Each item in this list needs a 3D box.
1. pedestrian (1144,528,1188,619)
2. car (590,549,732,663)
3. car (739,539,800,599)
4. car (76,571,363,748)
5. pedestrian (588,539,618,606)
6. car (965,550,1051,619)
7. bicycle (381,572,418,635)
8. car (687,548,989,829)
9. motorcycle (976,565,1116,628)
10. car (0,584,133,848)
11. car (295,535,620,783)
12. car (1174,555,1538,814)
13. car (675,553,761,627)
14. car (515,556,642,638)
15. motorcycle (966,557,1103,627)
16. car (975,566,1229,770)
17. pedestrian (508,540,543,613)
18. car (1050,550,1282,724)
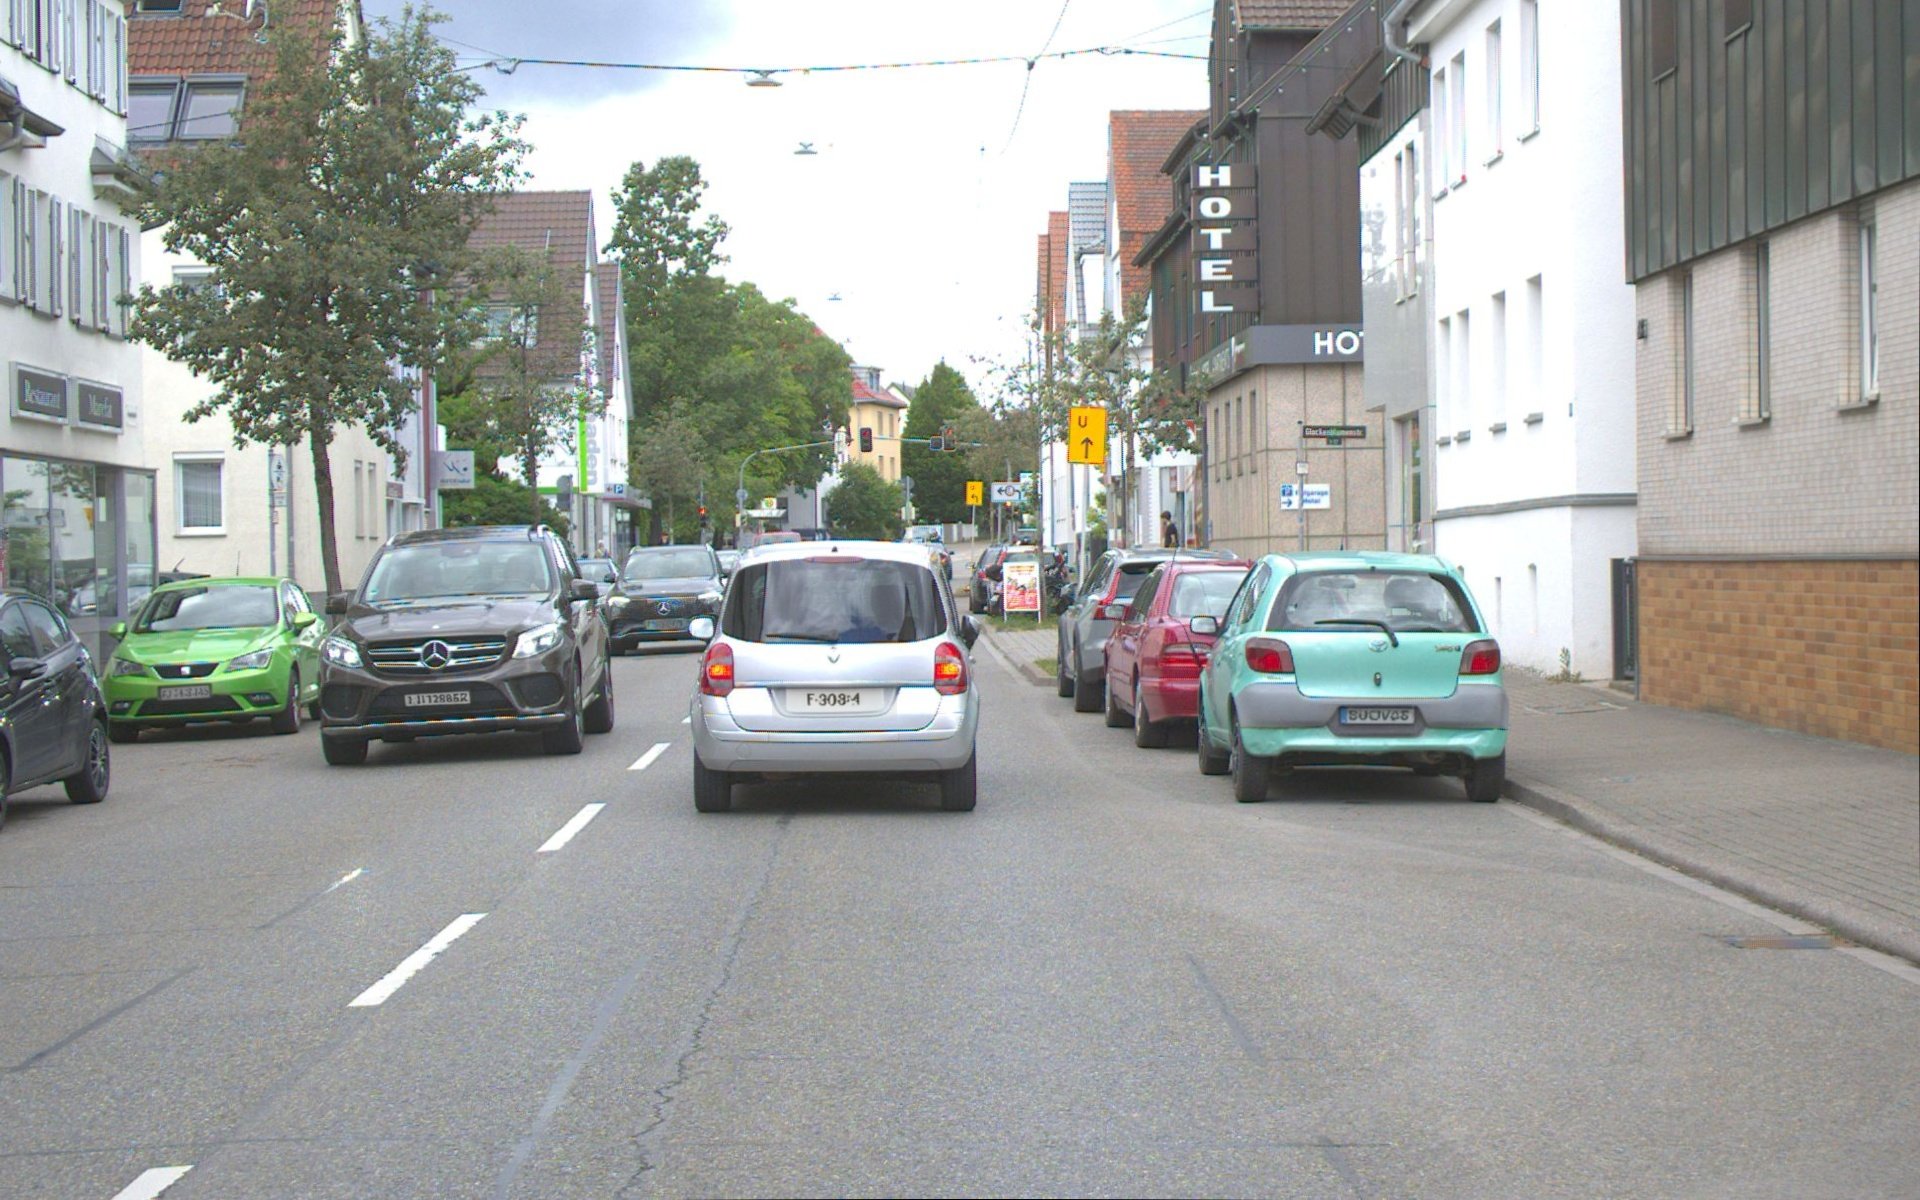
[{"bbox_3d":[4.370,-0.559,73.044,0.857,1.921,0.900,0,0,-1],"label":"pedestrian"},{"bbox_3d":[-4.495,0.057,52.217,1.794,1.573,4.192,-2,1,-1],"label":"car"},{"bbox_3d":[-6.558,-1.080,118.405,1.952,2.007,4.000,0,1,-1],"label":"car"},{"bbox_3d":[-6.731,0.496,31.633,1.682,1.442,4.020,-2,1,1],"label":"car"},{"bbox_3d":[-10.046,-0.775,96.763,0.762,1.869,0.696,0,0,-1],"label":"pedestrian"},{"bbox_3d":[1.024,-0.358,74.873,1.700,1.462,4.239,0,1,-2],"label":"car"},{"bbox_3d":[-10.357,0.054,63.532,0.514,1.149,1.666,0,1,-4],"label":"bicycle"},{"bbox_3d":[-0.701,0.474,21.282,1.682,1.560,3.993,1,1,0],"label":"car"},{"bbox_3d":[1.649,-0.073,65.876,2.728,1.179,0.700,0,1,-31],"label":"motorcycle"},{"bbox_3d":[-6.379,0.667,21.410,1.581,1.503,3.812,0,1,-1],"label":"car"},{"bbox_3d":[-3.867,0.401,27.178,1.900,1.731,4.366,-2,1,0],"label":"car"},{"bbox_3d":[2.437,0.470,22.065,1.831,1.492,3.993,1,1,0],"label":"car"},{"bbox_3d":[-4.996,-0.223,71.169,1.682,1.442,4.021,-2,1,-4],"label":"car"},{"bbox_3d":[-7.433,-0.087,67.351,1.948,1.462,4.516,-3,1,-1],"label":"car"},{"bbox_3d":[1.452,-0.162,66.918,2.707,1.331,0.700,0,1,-31],"label":"motorcycle"},{"bbox_3d":[1.035,0.470,26.979,1.755,1.441,4.455,1,1,0],"label":"car"},{"bbox_3d":[-10.721,-0.586,84.799,0.762,1.785,0.890,0,0,-1],"label":"pedestrian"},{"bbox_3d":[1.887,0.299,32.697,1.875,1.534,4.513,0,1,-1],"label":"car"}]
